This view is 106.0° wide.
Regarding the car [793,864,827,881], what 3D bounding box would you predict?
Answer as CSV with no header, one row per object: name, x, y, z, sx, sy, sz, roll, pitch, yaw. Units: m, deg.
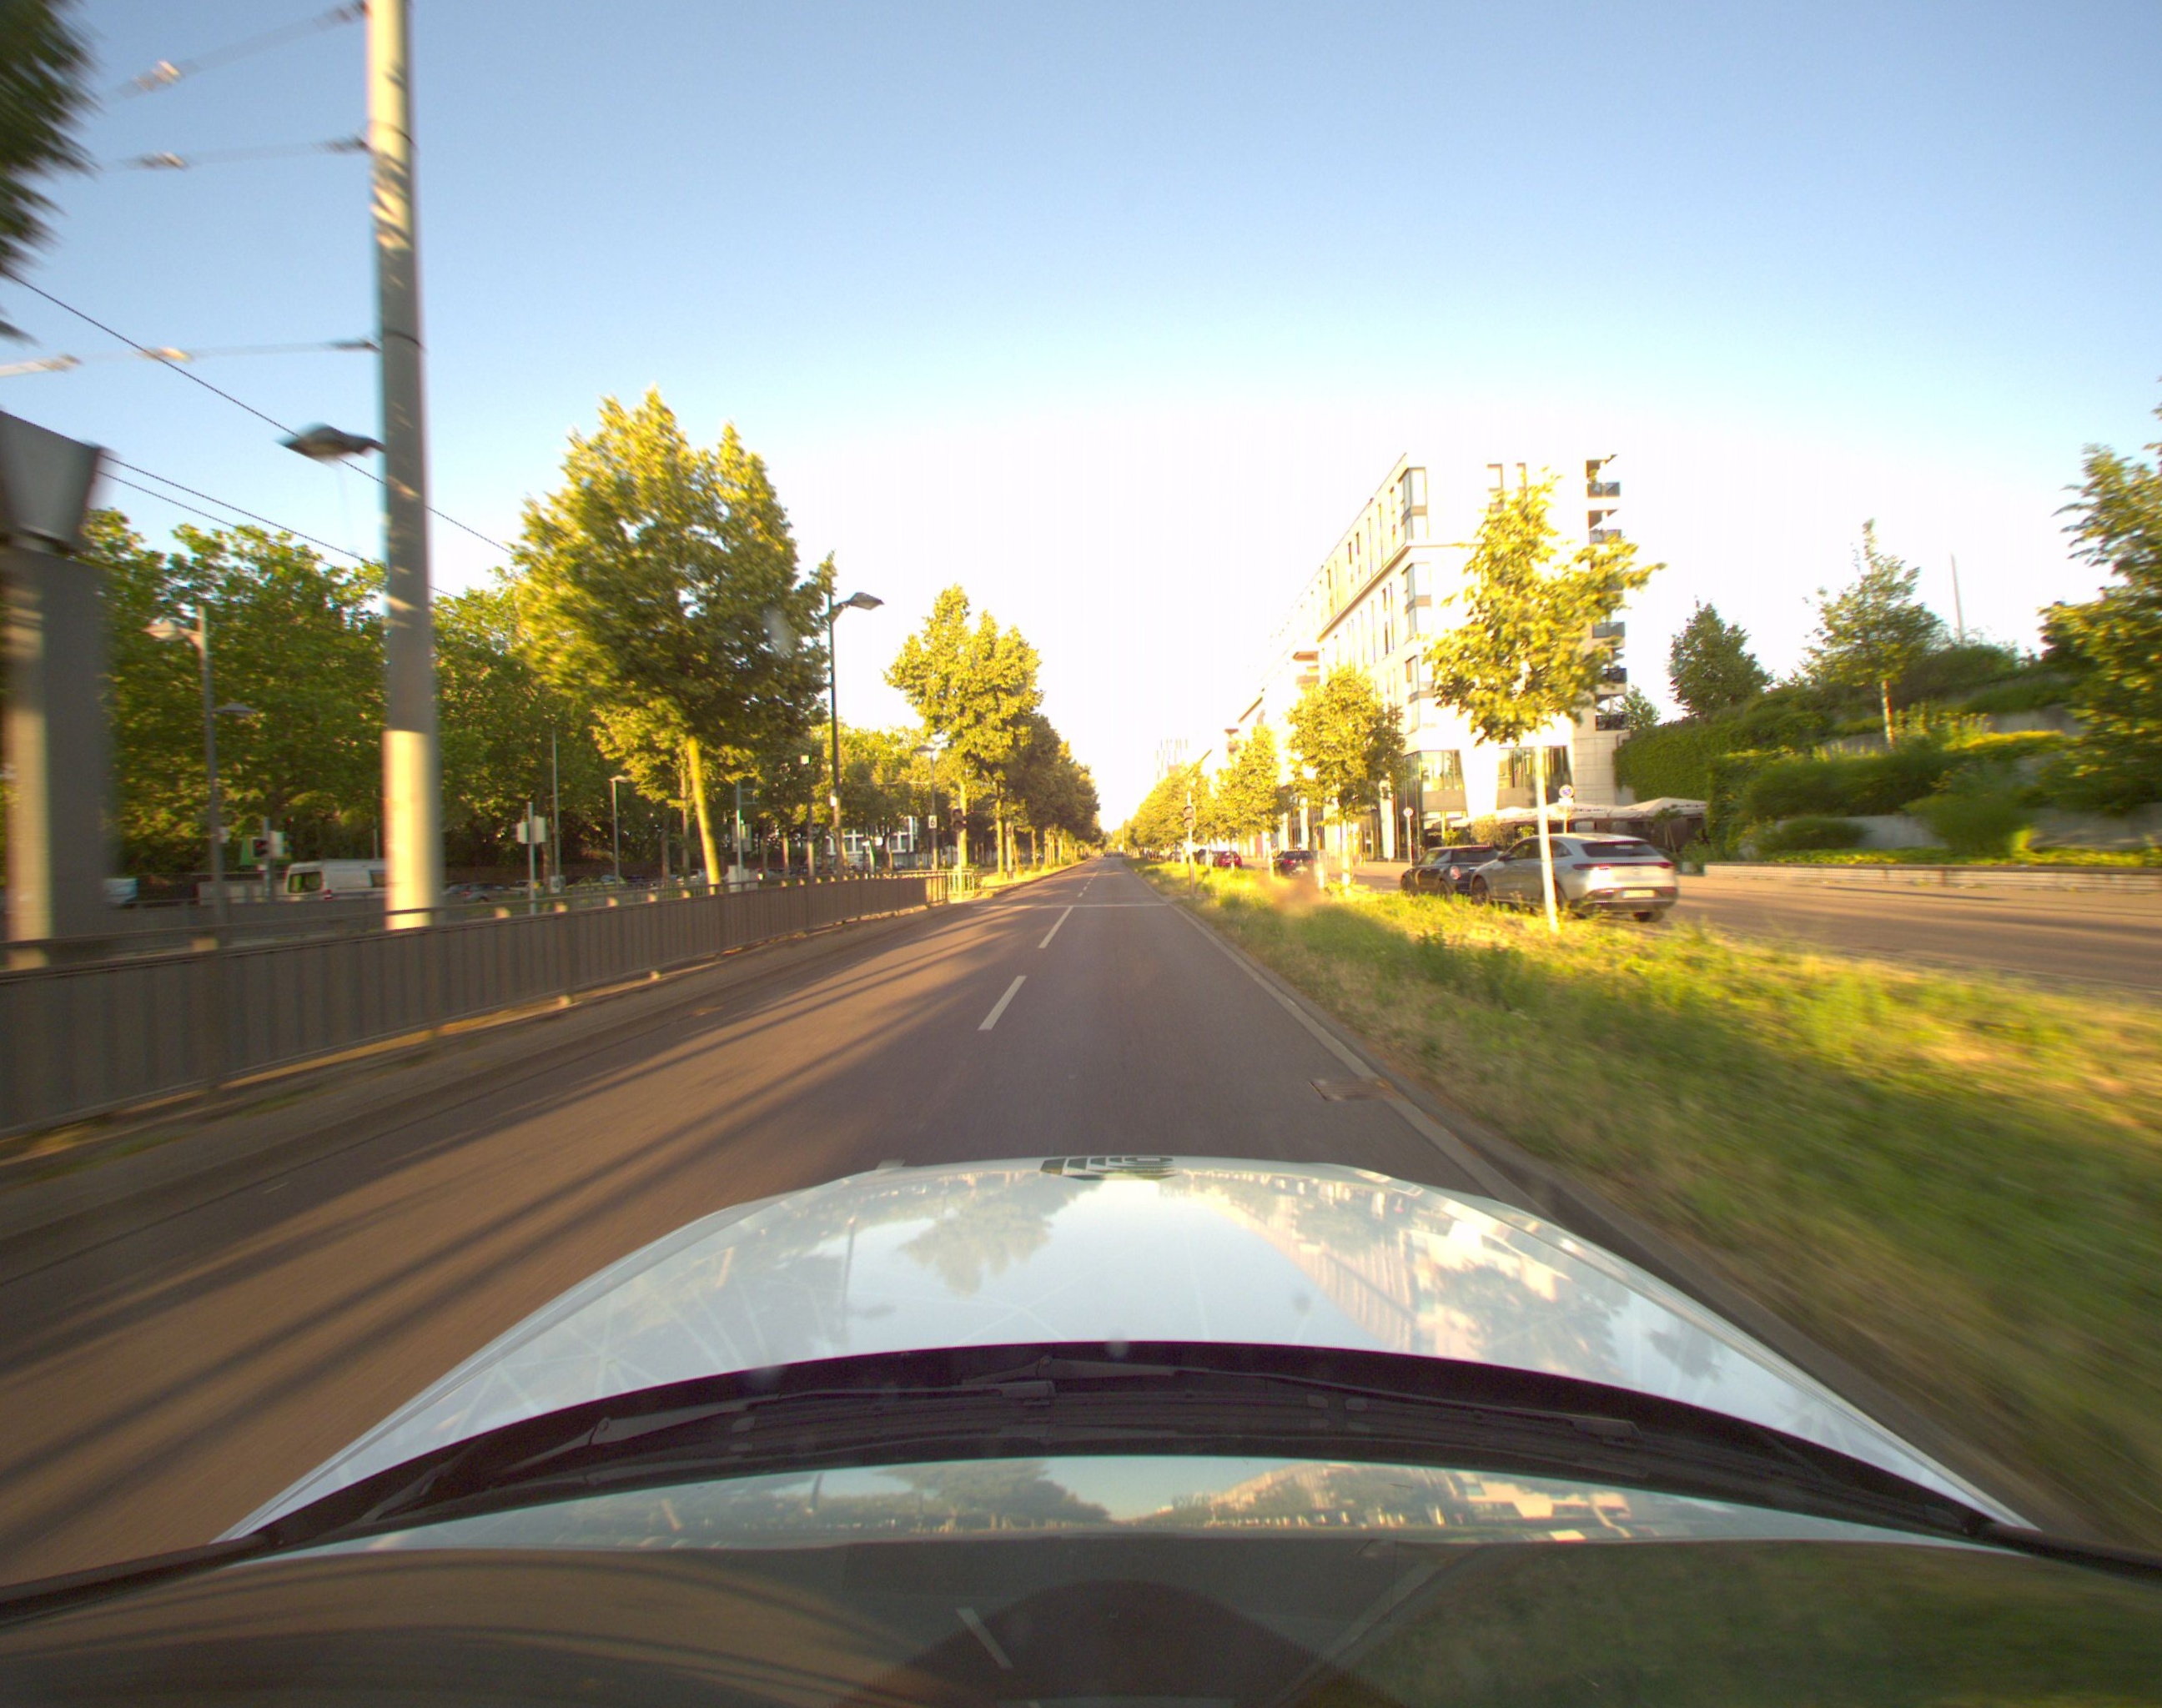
car,-27.990,1.861,84.132,1.793,1.560,3.846,-2,0,7

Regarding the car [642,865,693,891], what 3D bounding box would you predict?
car,-36.073,2.057,71.176,1.982,2.013,4.010,-2,0,9

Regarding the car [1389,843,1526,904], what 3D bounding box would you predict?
car,9.524,0.441,20.983,1.743,1.398,4.001,-1,0,1

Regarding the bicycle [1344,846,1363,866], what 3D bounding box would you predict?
bicycle,17.953,0.124,53.708,0.615,1.231,1.670,-2,0,0

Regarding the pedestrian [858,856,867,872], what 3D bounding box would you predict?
pedestrian,-24.425,1.104,91.080,0.692,1.759,0.864,-2,0,-6

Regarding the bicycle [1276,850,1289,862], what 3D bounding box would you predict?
bicycle,18.674,0.182,75.401,0.618,1.033,2.262,-2,0,1

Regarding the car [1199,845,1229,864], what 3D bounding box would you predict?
car,11.389,0.016,70.021,1.914,1.501,5.011,-2,0,1

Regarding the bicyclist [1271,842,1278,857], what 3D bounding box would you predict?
bicyclist,20.899,-0.524,87.816,0.542,1.568,1.021,-2,0,5

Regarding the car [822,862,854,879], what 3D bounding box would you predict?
car,-27.574,1.881,92.629,1.986,1.750,4.792,-2,0,1

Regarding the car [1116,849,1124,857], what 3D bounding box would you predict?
car,11.142,-0.277,232.832,1.986,2.013,4.001,-2,0,1

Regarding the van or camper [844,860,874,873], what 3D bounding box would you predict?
van or camper,-33.427,1.926,122.763,3.985,1.791,1.994,-2,0,-9

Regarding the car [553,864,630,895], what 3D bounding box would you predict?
car,-29.468,1.515,49.170,1.985,1.640,4.003,-2,0,3

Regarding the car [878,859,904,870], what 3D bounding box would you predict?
car,-32.472,1.793,138.978,3.976,1.640,1.921,-2,0,-2

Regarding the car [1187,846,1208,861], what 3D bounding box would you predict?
car,12.075,-0.066,84.790,1.717,1.501,4.235,-1,0,2

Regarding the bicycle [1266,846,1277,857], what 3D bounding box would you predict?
bicycle,19.029,-0.225,81.380,0.532,1.059,1.610,-2,0,-3

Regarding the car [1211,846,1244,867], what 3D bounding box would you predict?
car,11.163,0.157,62.299,1.802,1.501,3.960,-2,0,1

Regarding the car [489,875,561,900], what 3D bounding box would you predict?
car,-38.047,2.274,55.848,1.851,1.492,4.056,-2,0,5

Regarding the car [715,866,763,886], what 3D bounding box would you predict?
car,-27.844,1.776,66.473,1.892,1.499,4.310,-2,0,3

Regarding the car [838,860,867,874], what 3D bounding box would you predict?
car,-27.417,1.569,97.931,1.984,1.486,4.006,-2,0,5

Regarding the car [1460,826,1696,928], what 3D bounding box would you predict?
car,9.337,0.368,15.851,1.802,1.632,4.677,-2,0,1

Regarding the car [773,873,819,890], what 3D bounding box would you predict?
car,-26.590,2.523,76.191,1.983,1.315,5.151,-2,0,6

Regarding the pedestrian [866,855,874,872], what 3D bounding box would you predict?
pedestrian,-23.729,1.022,91.541,0.692,1.870,0.864,-2,0,-6

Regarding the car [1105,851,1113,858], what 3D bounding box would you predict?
car,8.271,0.222,240.492,2.080,2.013,4.001,-2,0,1

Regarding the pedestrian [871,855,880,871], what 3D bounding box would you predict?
pedestrian,-22.950,1.044,90.974,0.691,1.743,0.866,-2,0,0

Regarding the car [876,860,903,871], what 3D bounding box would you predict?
car,-32.076,1.912,136.315,3.976,1.640,1.921,-2,0,-2

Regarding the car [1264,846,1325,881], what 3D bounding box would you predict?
car,10.023,0.409,38.507,1.802,1.501,4.370,-2,0,1

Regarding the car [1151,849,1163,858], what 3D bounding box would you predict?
car,14.439,-0.063,154.985,1.937,1.549,4.811,-2,0,0

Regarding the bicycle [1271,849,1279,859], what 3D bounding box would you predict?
bicycle,20.913,-0.021,87.740,0.540,1.118,1.915,-2,0,5

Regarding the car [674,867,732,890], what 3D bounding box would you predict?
car,-28.107,1.780,60.710,1.985,1.499,4.560,-2,0,3

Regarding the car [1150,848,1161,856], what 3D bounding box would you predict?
car,14.816,-0.360,162.235,1.847,1.529,4.484,-1,0,2

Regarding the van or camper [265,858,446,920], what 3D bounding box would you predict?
van or camper,-31.527,1.429,35.748,2.272,2.365,5.794,-2,0,7

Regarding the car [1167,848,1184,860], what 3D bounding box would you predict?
car,12.860,-0.048,111.089,1.802,1.501,4.827,-2,0,1

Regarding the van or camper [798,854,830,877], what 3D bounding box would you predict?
van or camper,-33.531,1.364,102.483,2.078,2.735,5.495,-2,0,1

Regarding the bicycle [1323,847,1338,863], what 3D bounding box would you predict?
bicycle,18.321,0.093,59.822,0.544,1.128,1.868,-4,0,0

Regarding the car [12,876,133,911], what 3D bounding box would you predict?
car,-59.036,2.279,47.808,1.986,1.750,4.002,-2,0,2

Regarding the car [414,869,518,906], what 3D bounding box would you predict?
car,-30.963,1.655,41.172,1.987,1.636,4.210,-2,0,1

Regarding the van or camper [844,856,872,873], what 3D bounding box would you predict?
van or camper,-40.831,1.897,149.427,2.697,3.085,6.272,-2,0,6
